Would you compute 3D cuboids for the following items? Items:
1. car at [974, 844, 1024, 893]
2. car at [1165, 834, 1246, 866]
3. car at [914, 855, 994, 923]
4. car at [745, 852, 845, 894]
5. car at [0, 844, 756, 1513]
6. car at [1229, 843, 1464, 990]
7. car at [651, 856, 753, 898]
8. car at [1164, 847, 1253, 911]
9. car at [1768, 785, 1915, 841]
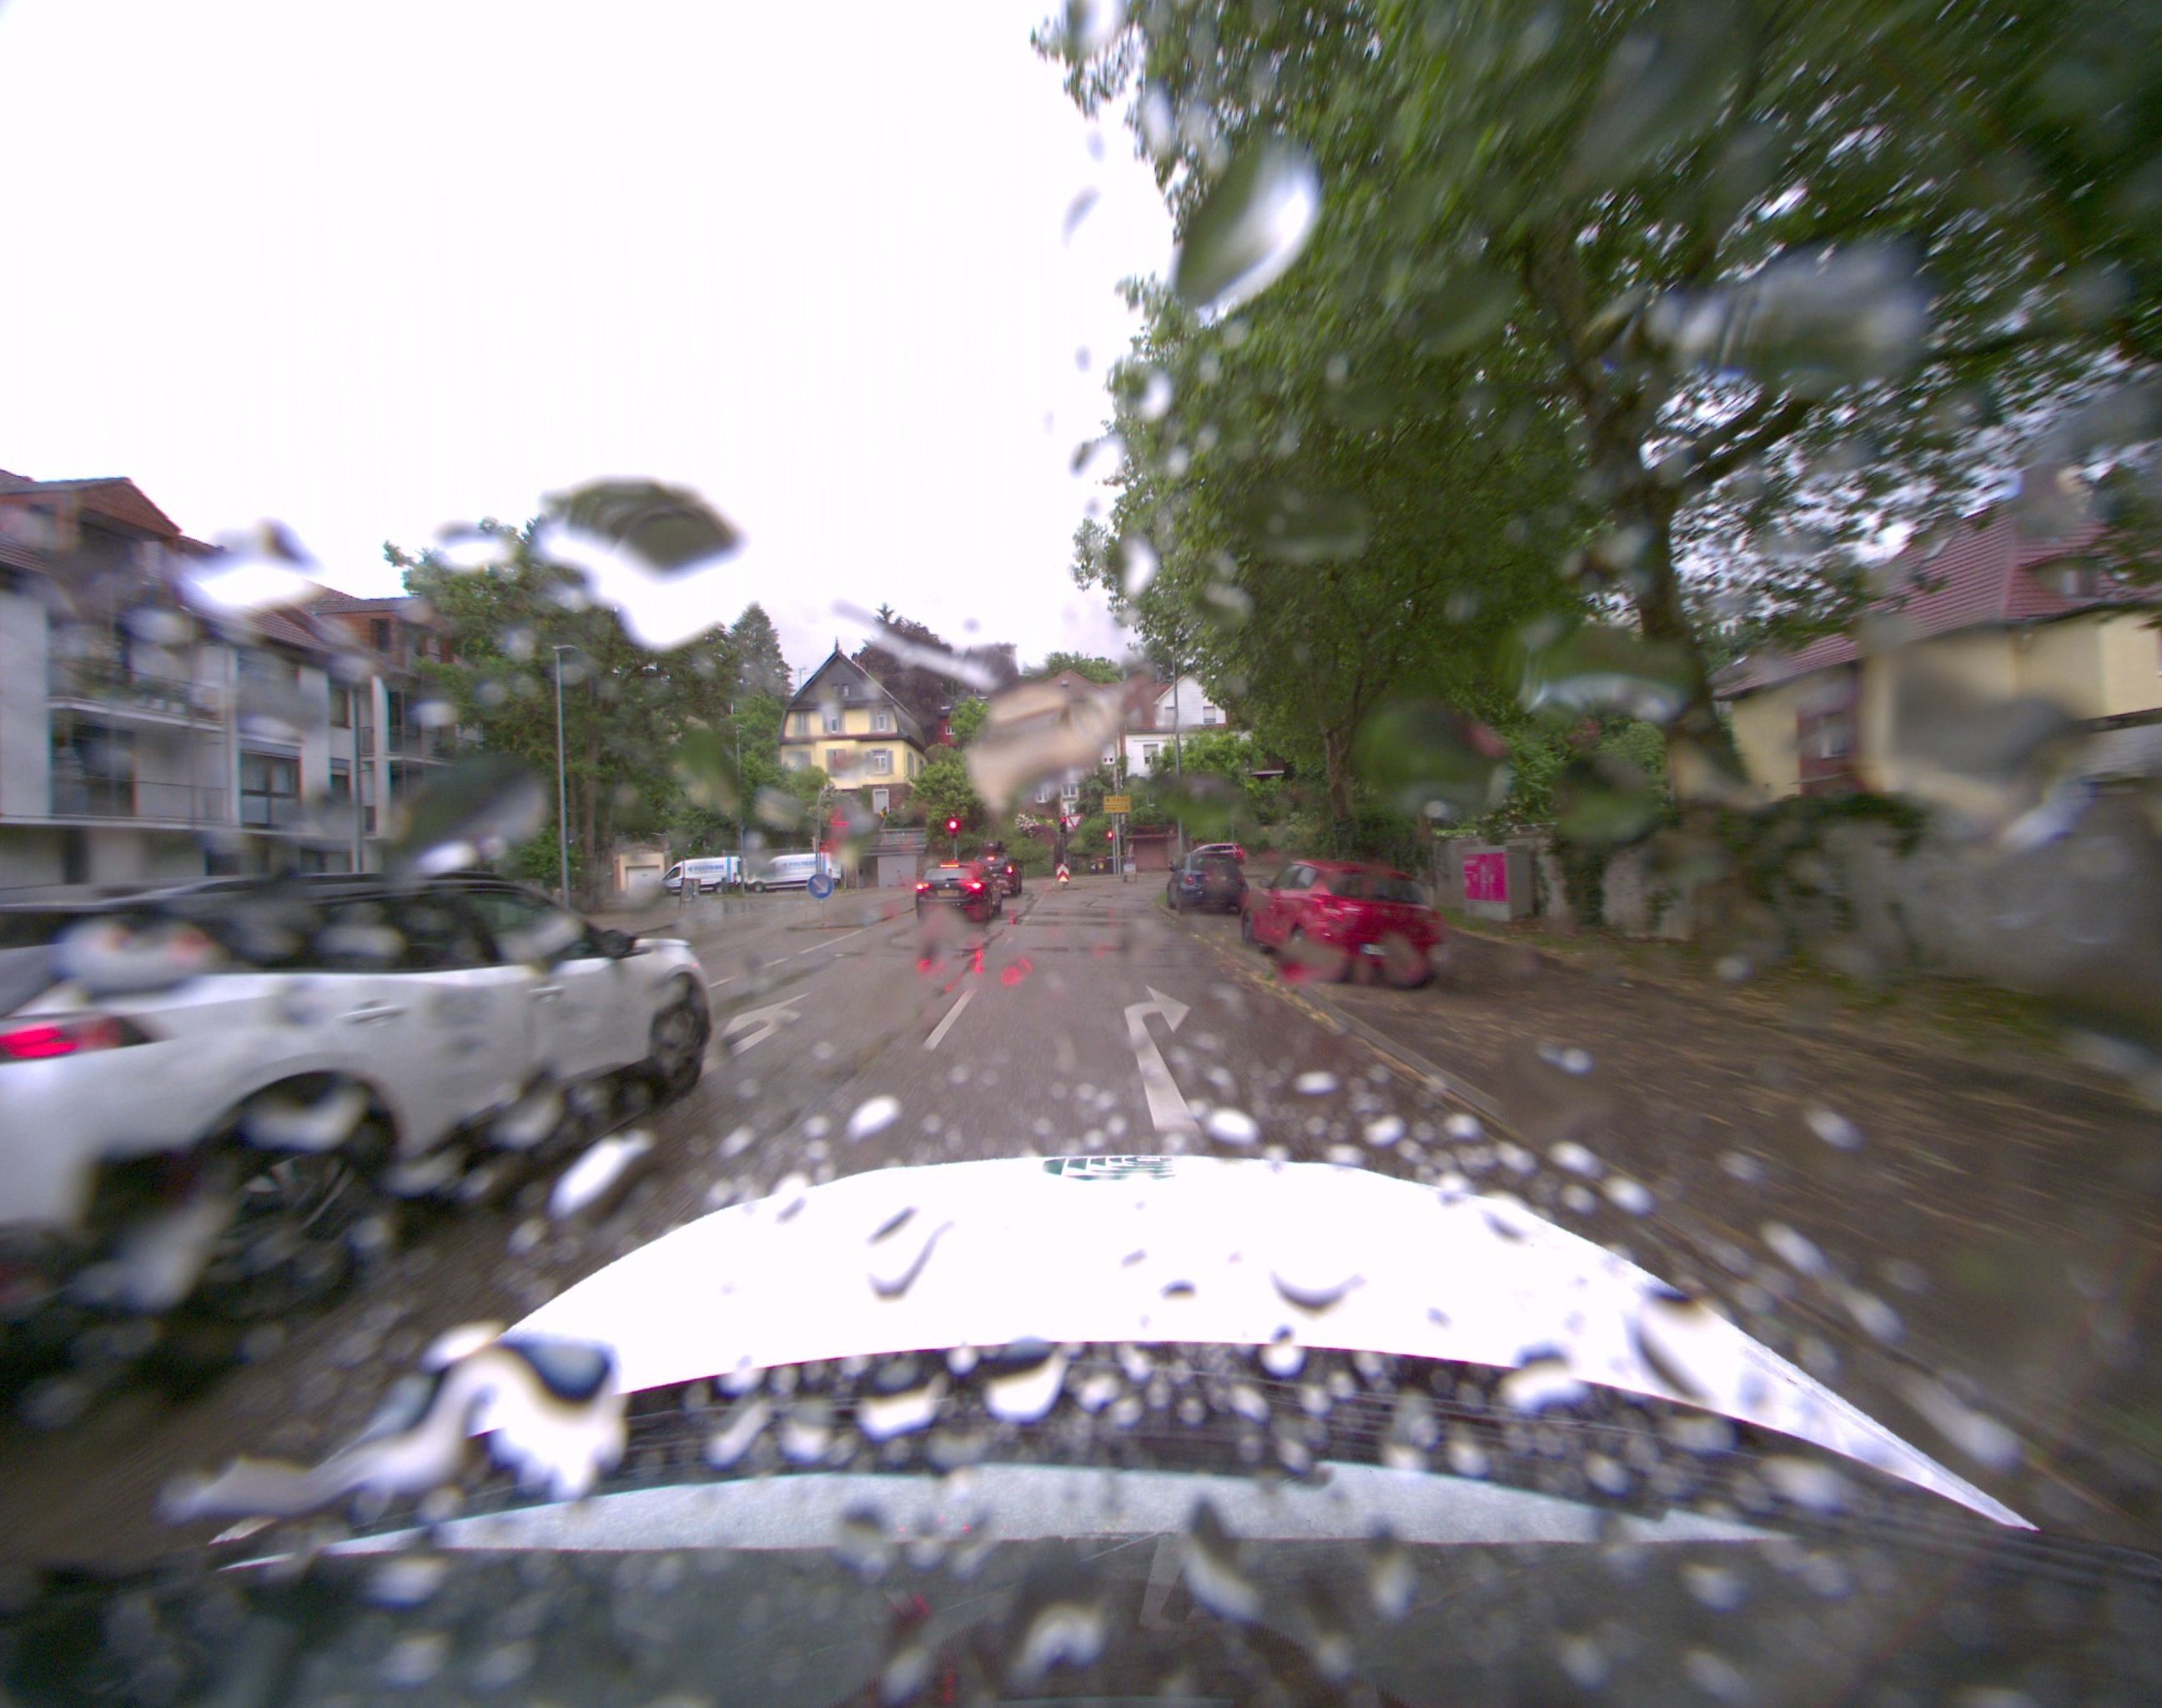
[{"bbox_3d":[-3.226,0.496,31.757,1.758,1.711,4.591,-1,1,-6],"label":"car"},{"bbox_3d":[7.441,-0.208,48.973,4.552,1.601,1.775,-4,-1,1],"label":"car"},{"bbox_3d":[-3.209,0.790,21.000,1.830,1.456,4.647,0,1,-8],"label":"car"},{"bbox_3d":[-18.614,1.257,53.218,5.640,2.494,2.316,-2,-1,1],"label":"car"},{"bbox_3d":[-3.389,0.794,3.991,1.747,1.536,4.367,-4,0,0],"label":"car"},{"bbox_3d":[3.421,0.705,11.296,1.815,1.517,3.740,4,1,-3],"label":"car"},{"bbox_3d":[-24.809,1.484,53.420,5.542,2.494,2.316,-2,-1,1],"label":"car"},{"bbox_3d":[3.165,0.591,20.834,1.744,1.491,3.599,0,0,0],"label":"car"},{"bbox_3d":[24.423,-1.270,26.306,1.481,1.471,3.430,-4,-1,1],"label":"car"}]
